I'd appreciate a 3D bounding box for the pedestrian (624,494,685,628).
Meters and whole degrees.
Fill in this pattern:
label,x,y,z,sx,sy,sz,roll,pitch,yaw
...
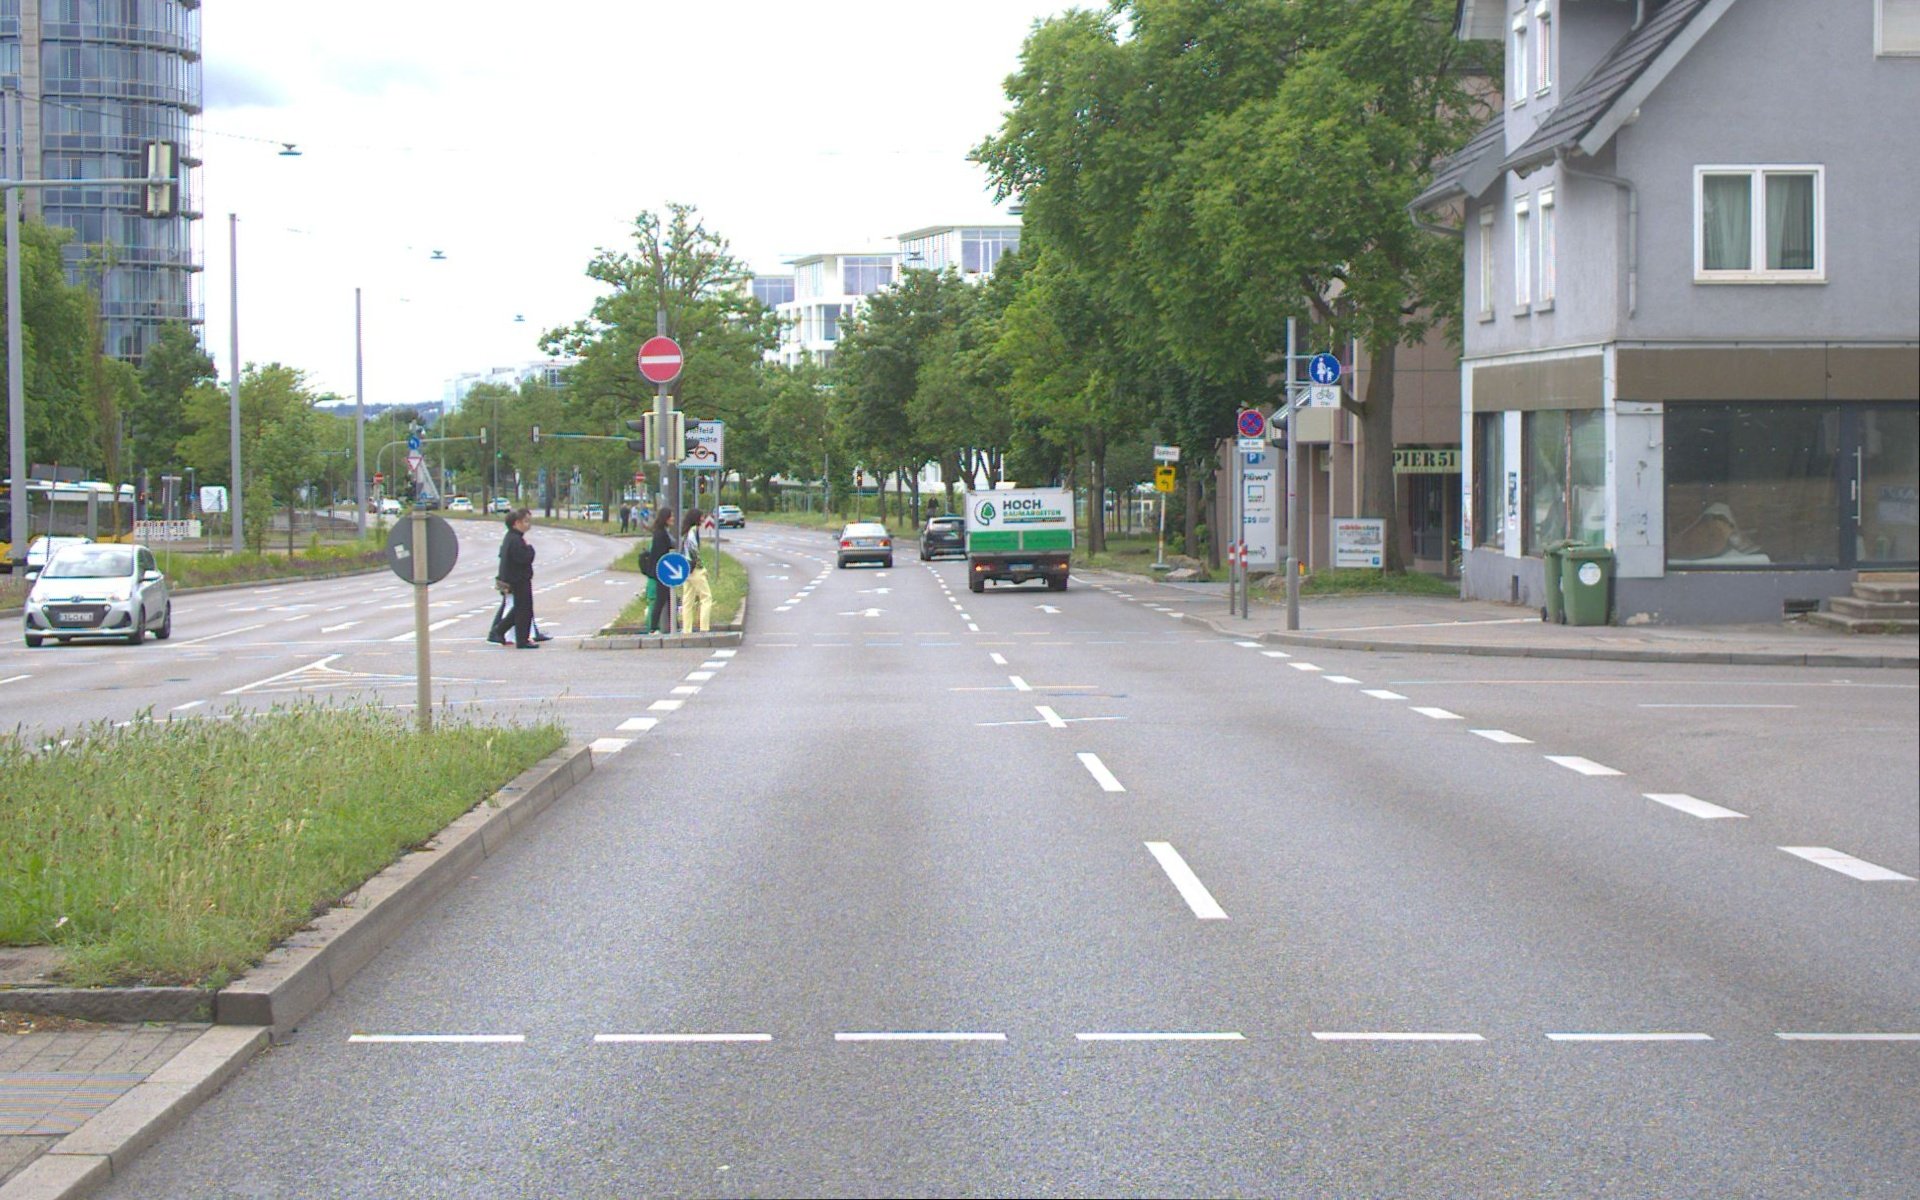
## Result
label,x,y,z,sx,sy,sz,roll,pitch,yaw
pedestrian,-3.960,-0.507,44.550,0.745,1.710,0.583,-1,1,-7

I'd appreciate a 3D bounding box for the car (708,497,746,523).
label,x,y,z,sx,sy,sz,roll,pitch,yaw
car,-14.584,-5.615,214.965,1.993,1.546,4.001,-1,1,-10

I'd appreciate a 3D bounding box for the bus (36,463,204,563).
label,x,y,z,sx,sy,sz,roll,pitch,yaw
bus,-30.376,-3.133,124.843,2.832,3.419,10.732,-1,1,3

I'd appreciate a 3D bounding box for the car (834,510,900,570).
label,x,y,z,sx,sy,sz,roll,pitch,yaw
car,-2.868,-1.874,106.285,1.993,1.824,4.000,0,1,-1

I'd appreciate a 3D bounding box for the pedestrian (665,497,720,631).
label,x,y,z,sx,sy,sz,roll,pitch,yaw
pedestrian,-3.427,-0.464,44.014,0.653,1.710,0.452,-1,1,-7

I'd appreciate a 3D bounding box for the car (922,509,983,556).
label,x,y,z,sx,sy,sz,roll,pitch,yaw
car,-0.265,-2.292,116.570,1.993,1.546,4.000,1,1,-1

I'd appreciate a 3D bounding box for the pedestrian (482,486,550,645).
label,x,y,z,sx,sy,sz,roll,pitch,yaw
pedestrian,-5.649,-0.440,43.706,0.829,2.007,0.546,-1,1,-7

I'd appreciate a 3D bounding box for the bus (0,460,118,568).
label,x,y,z,sx,sy,sz,roll,pitch,yaw
bus,-30.988,-2.820,114.106,2.832,3.419,10.732,-1,1,3

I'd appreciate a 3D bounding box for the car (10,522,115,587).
label,x,y,z,sx,sy,sz,roll,pitch,yaw
car,-23.660,-1.204,90.736,1.806,1.656,4.000,-1,1,-1

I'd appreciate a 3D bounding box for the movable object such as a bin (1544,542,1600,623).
label,x,y,z,sx,sy,sz,roll,pitch,yaw
movable object such as a bin,7.930,-0.231,44.552,0.616,1.039,0.589,1,1,1

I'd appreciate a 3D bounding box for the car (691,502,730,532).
label,x,y,z,sx,sy,sz,roll,pitch,yaw
car,-12.786,-4.251,176.167,1.993,1.514,4.001,-1,2,-4

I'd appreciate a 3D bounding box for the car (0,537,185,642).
label,x,y,z,sx,sy,sz,roll,pitch,yaw
car,-12.882,-0.186,50.966,1.993,1.481,4.001,-1,1,-2

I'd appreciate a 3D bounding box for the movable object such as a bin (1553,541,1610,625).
label,x,y,z,sx,sy,sz,roll,pitch,yaw
movable object such as a bin,7.935,-0.224,43.914,0.604,1.056,0.589,1,1,1

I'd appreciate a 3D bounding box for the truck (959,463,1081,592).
label,x,y,z,sx,sy,sz,roll,pitch,yaw
truck,1.282,-1.623,74.138,2.471,2.602,6.548,1,2,1

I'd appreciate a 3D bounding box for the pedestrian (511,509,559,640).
label,x,y,z,sx,sy,sz,roll,pitch,yaw
pedestrian,-5.606,-0.339,45.343,0.612,1.710,0.546,-1,1,-7

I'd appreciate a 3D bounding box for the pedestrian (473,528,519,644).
label,x,y,z,sx,sy,sz,roll,pitch,yaw
pedestrian,-6.000,-0.188,44.429,0.543,1.491,0.487,-1,1,-12

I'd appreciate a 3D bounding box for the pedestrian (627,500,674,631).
label,x,y,z,sx,sy,sz,roll,pitch,yaw
pedestrian,-4.073,-0.457,45.261,0.583,1.710,0.546,-1,1,-7
